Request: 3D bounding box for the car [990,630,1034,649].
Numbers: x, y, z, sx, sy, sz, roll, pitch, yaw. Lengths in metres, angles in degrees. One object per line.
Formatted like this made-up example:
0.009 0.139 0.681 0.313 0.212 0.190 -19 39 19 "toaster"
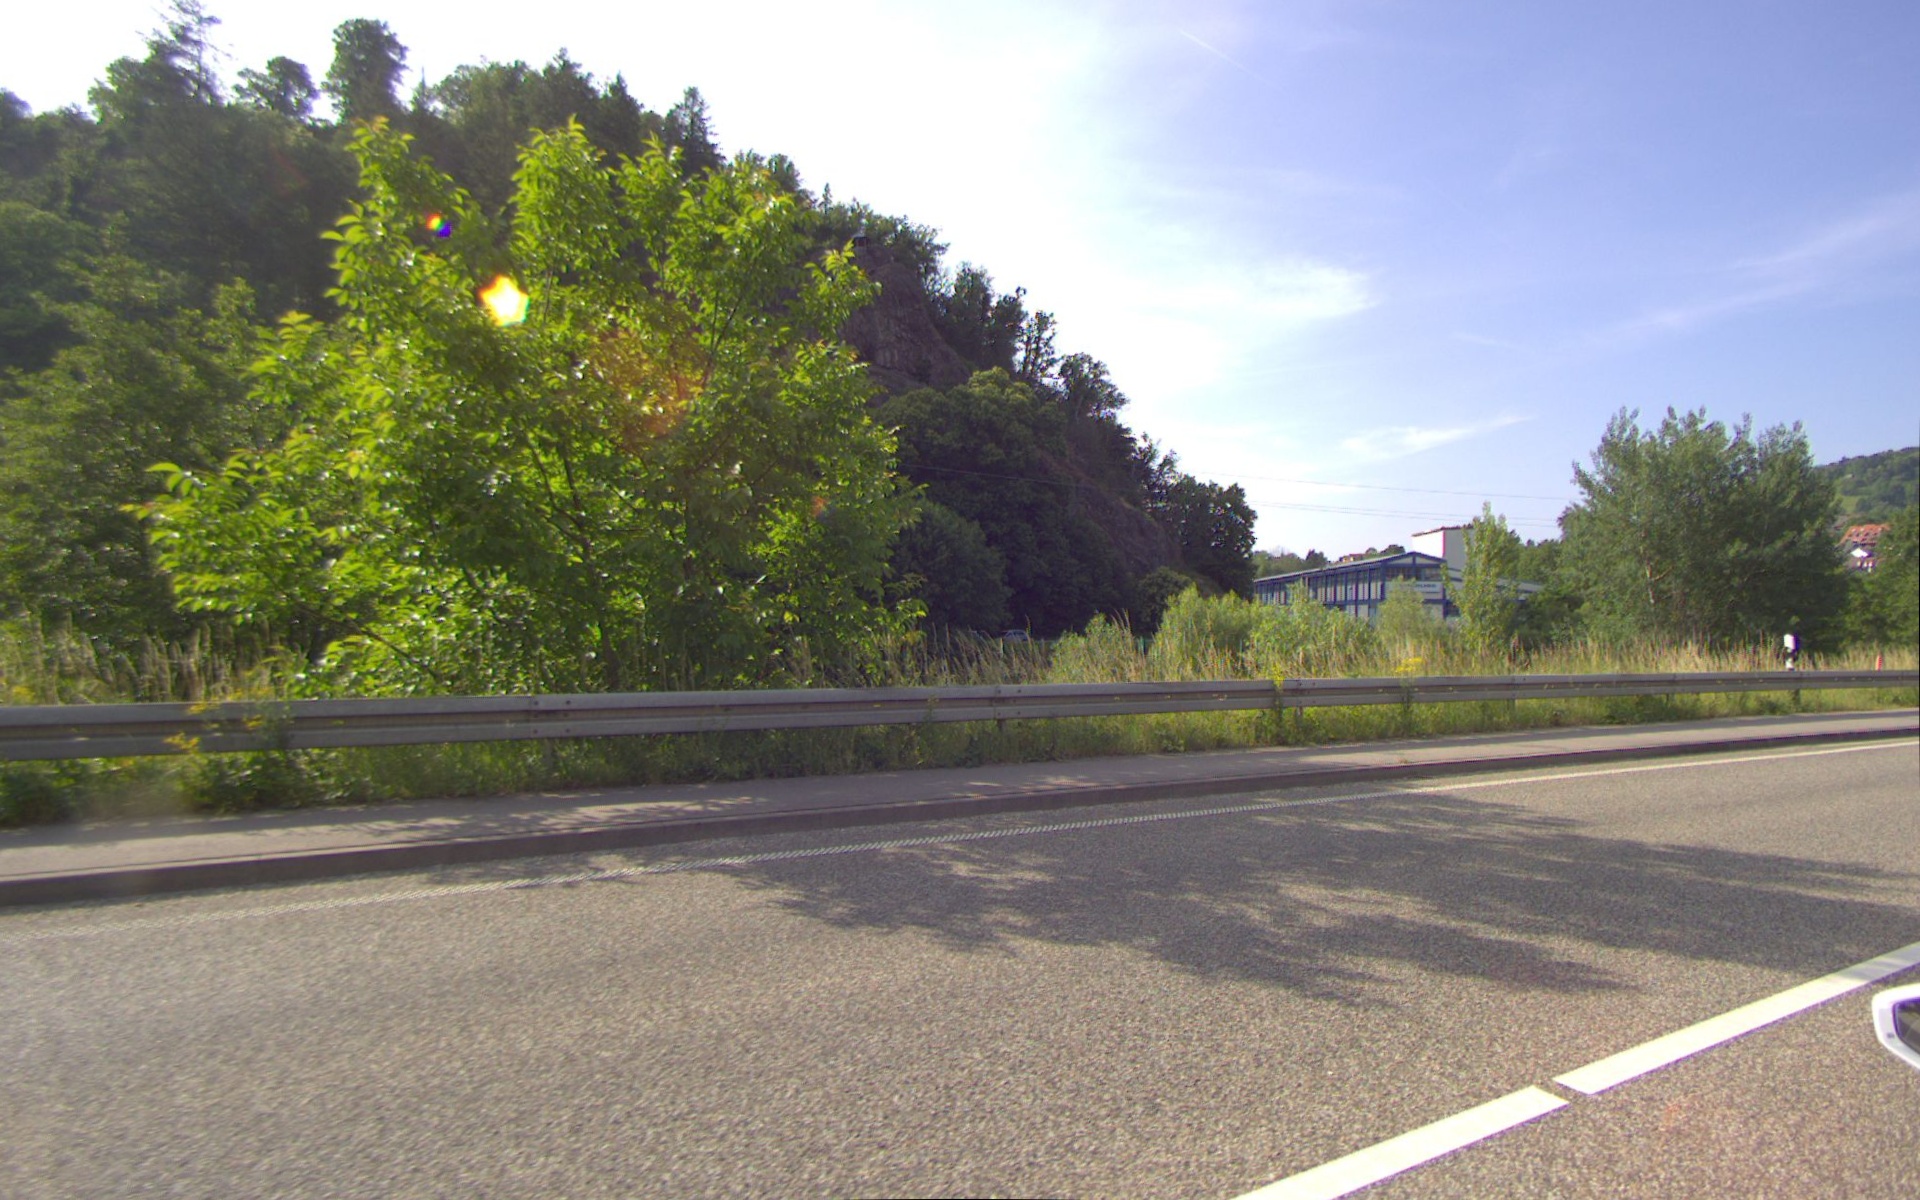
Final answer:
5.045 3.805 97.524 3.960 1.688 1.858 2 1 -35 "car"
